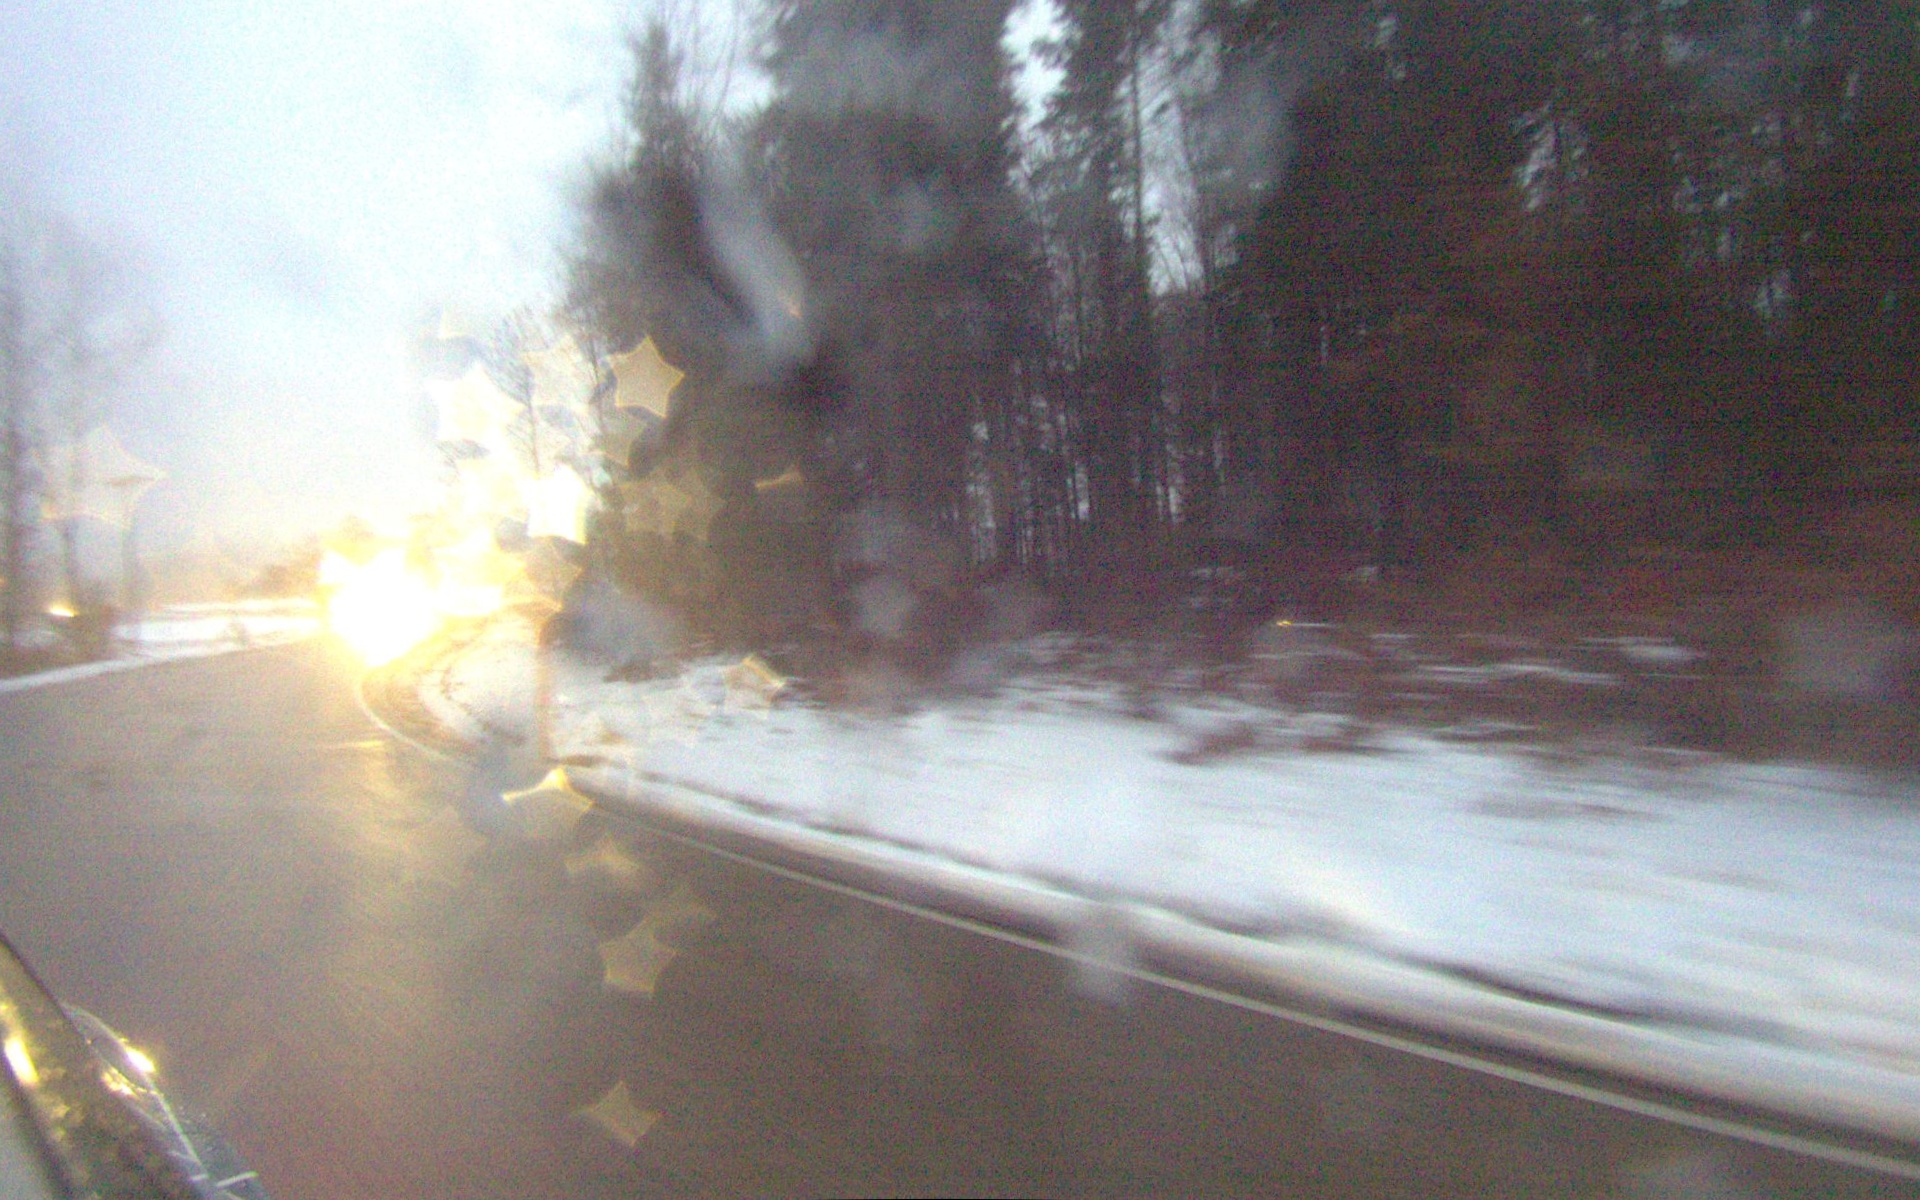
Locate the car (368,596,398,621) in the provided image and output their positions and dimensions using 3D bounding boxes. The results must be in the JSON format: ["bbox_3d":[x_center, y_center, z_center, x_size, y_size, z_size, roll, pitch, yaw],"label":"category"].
[{"bbox_3d":[-53.742,0.767,94.298,1.967,2.028,4.011,-7,5,-34],"label":"car"}]
